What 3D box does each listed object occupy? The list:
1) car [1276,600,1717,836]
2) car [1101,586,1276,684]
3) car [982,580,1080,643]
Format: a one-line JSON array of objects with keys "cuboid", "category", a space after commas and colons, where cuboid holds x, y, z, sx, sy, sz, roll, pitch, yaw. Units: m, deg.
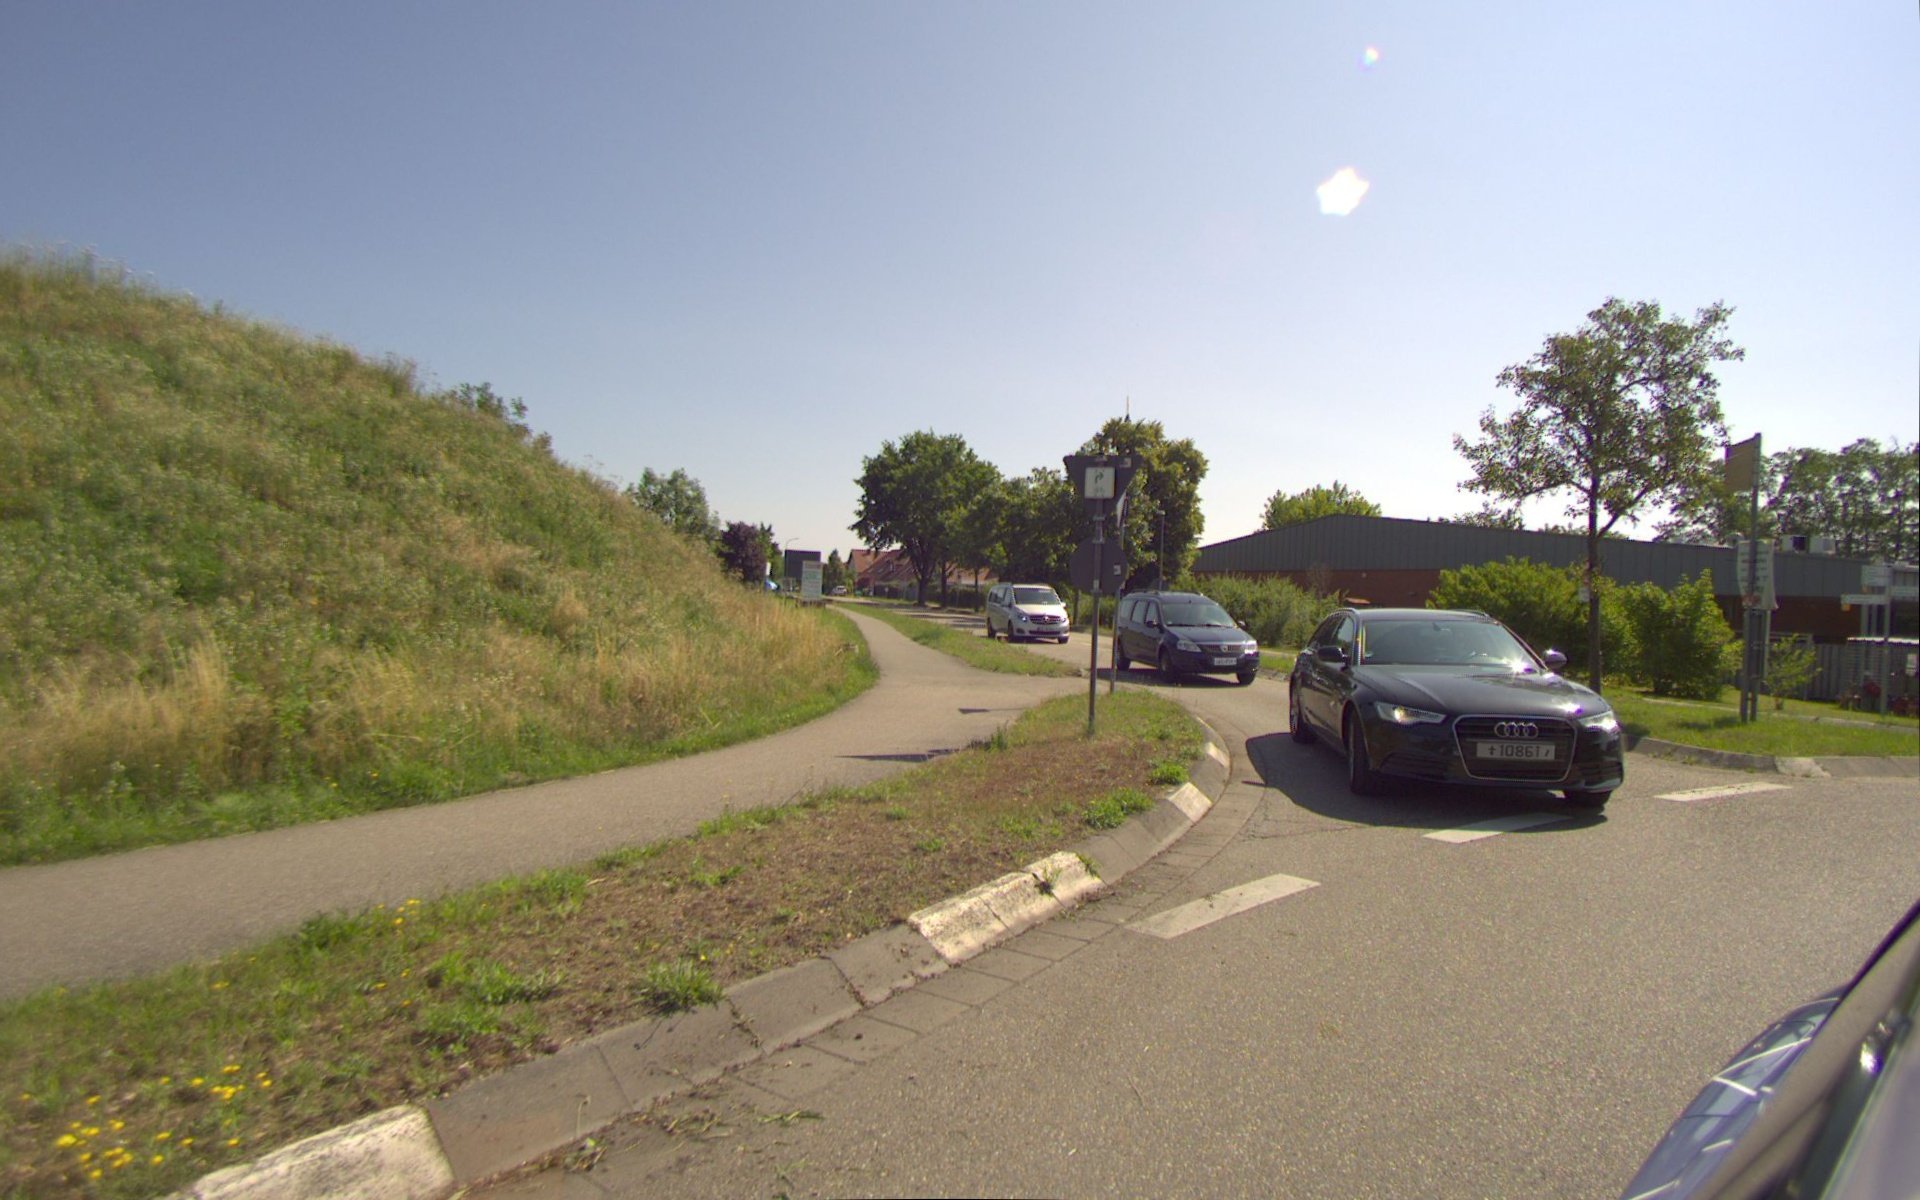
[{"cuboid": [4.195, 0.746, 8.972, 1.891, 1.452, 4.901, 0, 0, 8], "category": "car"}, {"cuboid": [4.269, 0.589, 19.732, 1.779, 1.661, 4.662, 0, 0, -8], "category": "car"}, {"cuboid": [2.247, 0.320, 33.822, 1.959, 1.838, 5.210, 3, 0, -10], "category": "car"}]
